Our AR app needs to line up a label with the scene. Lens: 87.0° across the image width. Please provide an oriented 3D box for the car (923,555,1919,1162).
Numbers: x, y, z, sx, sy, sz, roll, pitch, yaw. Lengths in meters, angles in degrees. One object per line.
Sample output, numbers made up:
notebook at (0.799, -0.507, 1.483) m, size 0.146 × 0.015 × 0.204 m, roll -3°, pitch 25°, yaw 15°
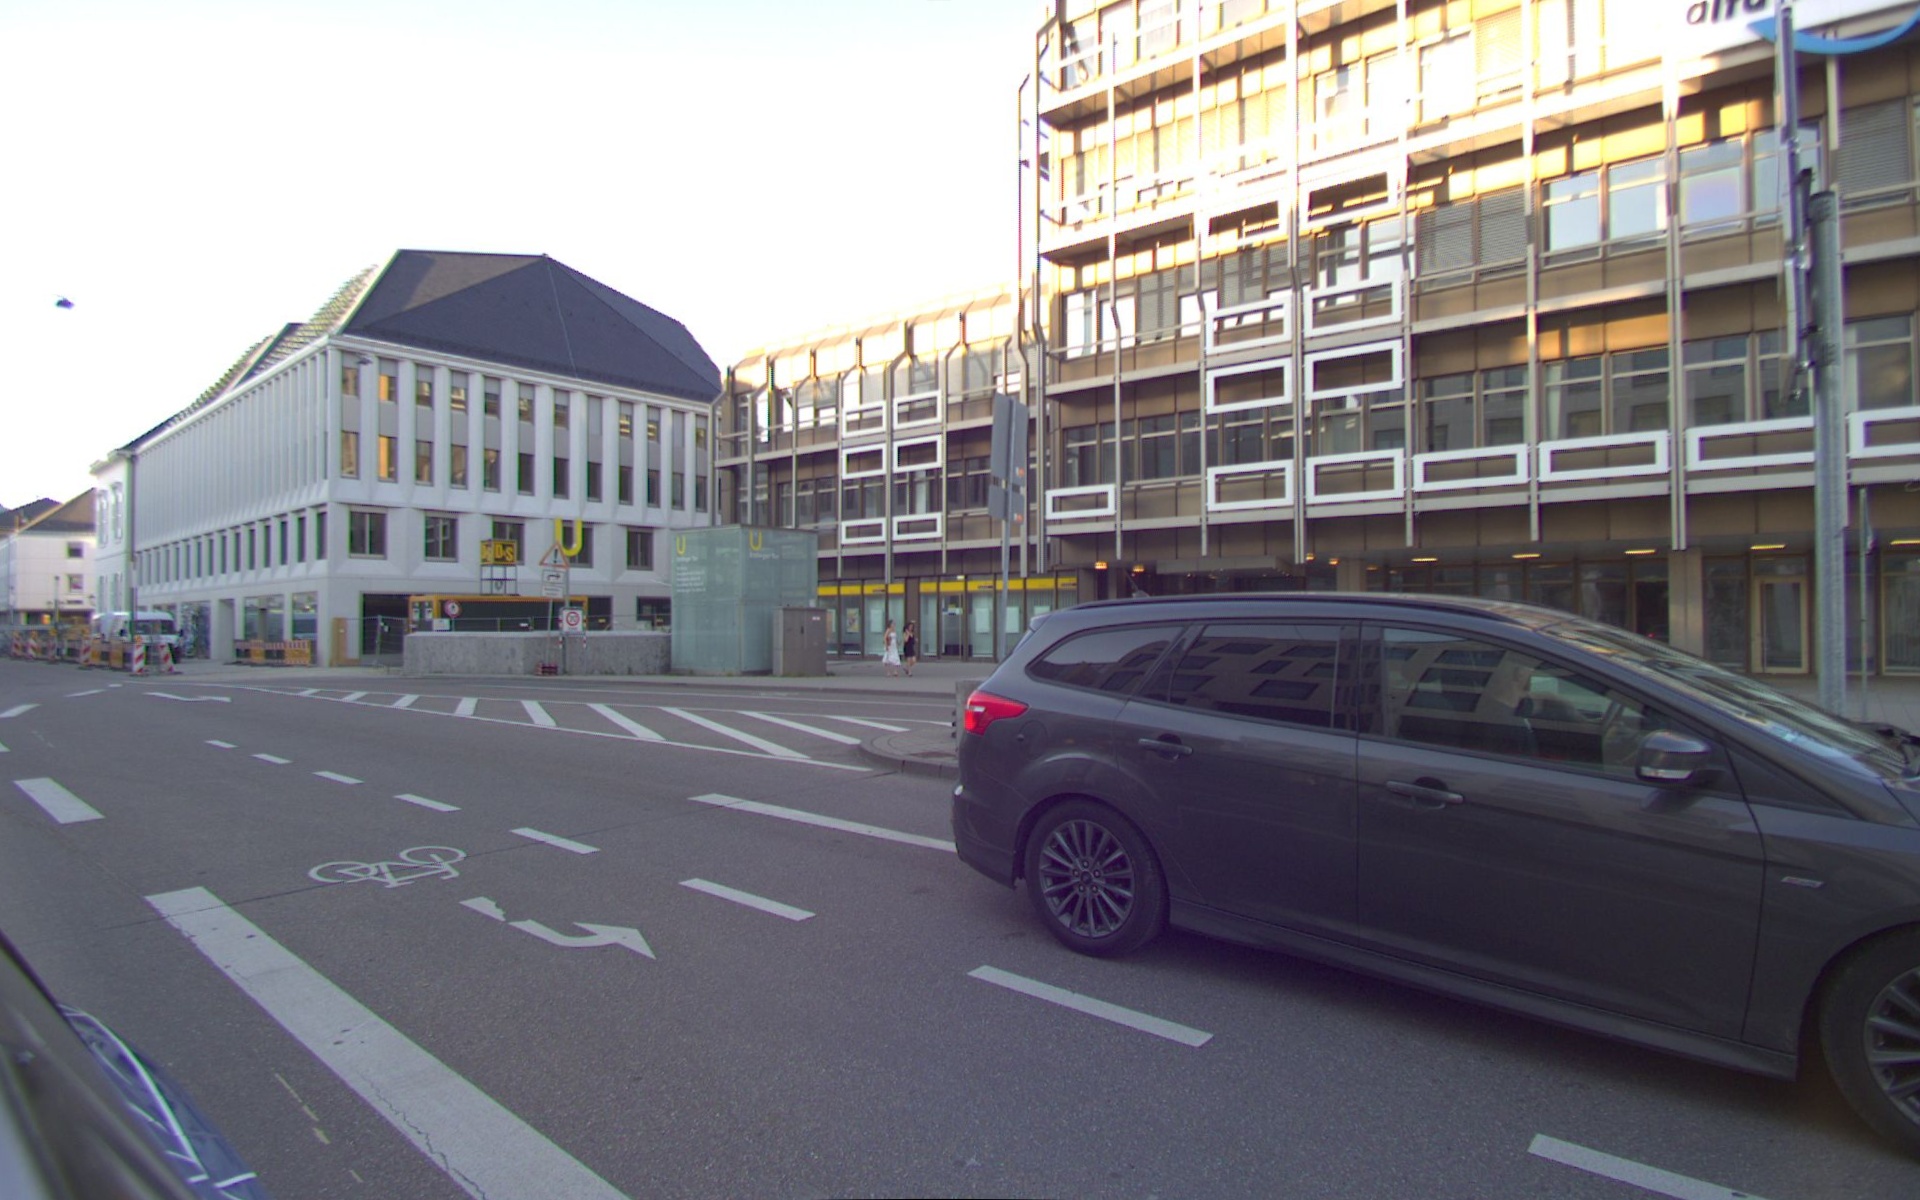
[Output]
car at (2.070, 0.645, 3.811) m, size 4.377 × 1.473 × 1.740 m, roll -2°, pitch -1°, yaw 40°

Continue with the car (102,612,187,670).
car at (-38.956, 1.937, 48.263) m, size 6.047 × 2.575 × 2.114 m, roll -2°, pitch -3°, yaw 41°

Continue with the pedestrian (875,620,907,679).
pedestrian at (-1.945, 1.384, 28.506) m, size 0.583 × 1.652 × 0.662 m, roll -2°, pitch -3°, yaw 41°

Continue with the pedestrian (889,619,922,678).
pedestrian at (-1.565, 1.383, 29.000) m, size 0.702 × 1.652 × 0.608 m, roll -2°, pitch -3°, yaw 41°
